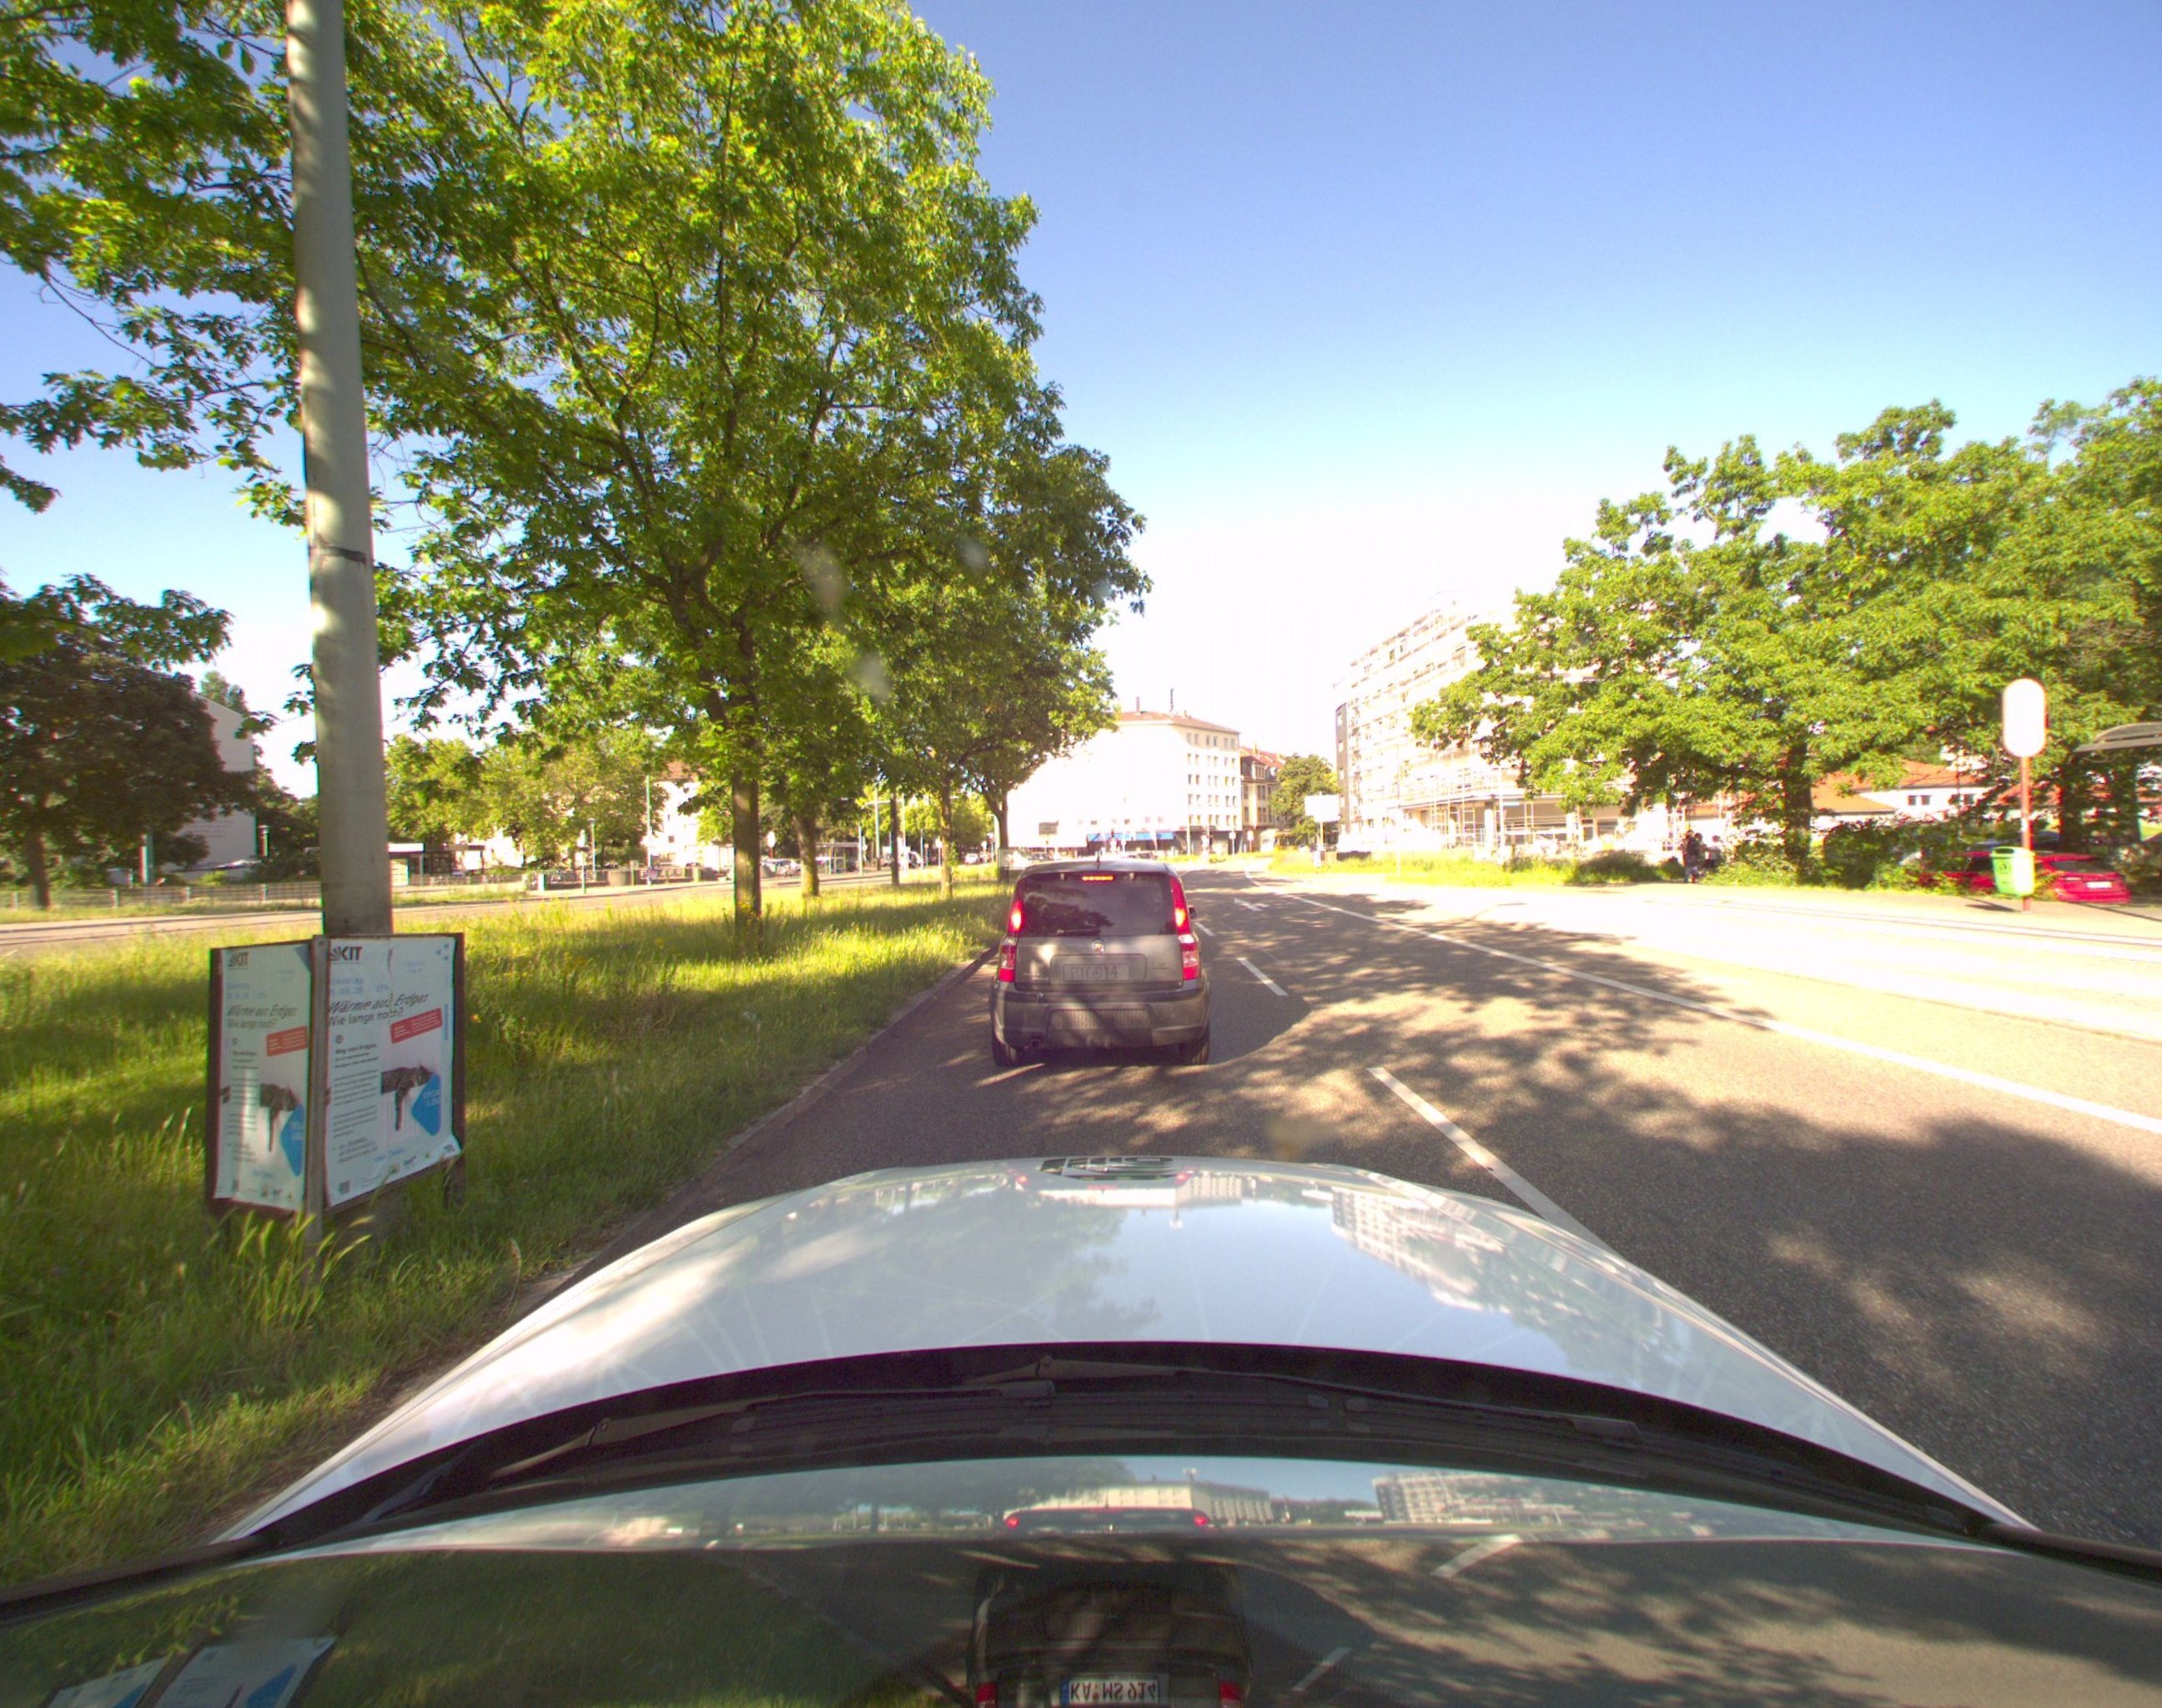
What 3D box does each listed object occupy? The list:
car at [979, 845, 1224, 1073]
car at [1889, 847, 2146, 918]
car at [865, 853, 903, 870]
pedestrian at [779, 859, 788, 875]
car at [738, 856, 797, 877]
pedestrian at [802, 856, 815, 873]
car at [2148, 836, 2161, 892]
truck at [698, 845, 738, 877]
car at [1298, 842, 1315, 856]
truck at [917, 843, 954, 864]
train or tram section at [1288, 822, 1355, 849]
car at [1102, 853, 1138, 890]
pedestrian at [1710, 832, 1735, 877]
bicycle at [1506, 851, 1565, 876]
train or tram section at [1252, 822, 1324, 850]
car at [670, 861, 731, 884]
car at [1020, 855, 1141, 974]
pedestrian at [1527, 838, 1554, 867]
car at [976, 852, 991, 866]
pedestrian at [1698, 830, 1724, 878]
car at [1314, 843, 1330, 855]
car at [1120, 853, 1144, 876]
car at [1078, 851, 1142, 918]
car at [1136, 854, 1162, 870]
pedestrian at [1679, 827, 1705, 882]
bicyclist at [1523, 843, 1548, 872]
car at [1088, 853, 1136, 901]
[{"bbox_3d":[0.204,0.703,7.539,1.622,1.508,4.002,-2,0,2],"label":"car"},{"bbox_3d":[21.986,0.599,19.379,1.747,1.486,3.743,-2,0,-2],"label":"car"},{"bbox_3d":[-23.943,0.897,99.035,4.164,2.013,1.931,-2,0,-1],"label":"car"},{"bbox_3d":[-25.760,1.101,70.508,0.411,1.391,0.630,-2,0,28],"label":"pedestrian"},{"bbox_3d":[-27.317,1.073,71.072,1.974,1.684,4.348,-2,0,40],"label":"car"},{"bbox_3d":[-26.294,1.032,78.554,0.910,1.607,0.802,-2,0,41],"label":"pedestrian"},{"bbox_3d":[29.862,0.235,20.182,1.911,1.486,3.725,-2,0,-17],"label":"car"},{"bbox_3d":[-33.074,0.636,74.209,2.012,2.805,3.951,-2,0,-44],"label":"truck"},{"bbox_3d":[24.917,-0.532,90.001,1.669,1.449,3.588,-2,0,18],"label":"car"},{"bbox_3d":[-23.005,-0.134,128.576,5.425,3.168,2.358,-2,0,30],"label":"truck"},{"bbox_3d":[38.009,-2.941,127.405,3.263,3.770,20.944,-2,0,36],"label":"train or tram section"},{"bbox_3d":[1.602,0.694,33.972,1.351,1.449,3.267,-2,0,2],"label":"car"},{"bbox_3d":[20.898,0.015,26.552,0.516,1.447,0.595,-2,0,28],"label":"pedestrian"},{"bbox_3d":[22.409,0.452,40.165,2.502,1.198,0.711,0,-1,2],"label":"bicycle"},{"bbox_3d":[29.702,-2.576,115.685,3.263,3.513,19.509,-2,0,35],"label":"train or tram section"},{"bbox_3d":[-31.193,1.507,66.836,1.974,1.684,4.025,-2,0,40],"label":"car"},{"bbox_3d":[0.049,0.748,11.767,1.458,1.401,3.395,-2,0,2],"label":"car"},{"bbox_3d":[26.255,-0.095,46.551,0.893,1.653,0.978,-2,0,-28],"label":"pedestrian"},{"bbox_3d":[-14.838,0.739,124.165,1.988,2.013,3.997,-2,0,-2],"label":"car"},{"bbox_3d":[19.246,0.009,24.887,0.516,1.447,0.595,-2,0,28],"label":"pedestrian"},{"bbox_3d":[27.628,-0.583,93.430,1.514,1.314,3.304,-2,0,20],"label":"car"},{"bbox_3d":[3.096,0.623,49.682,1.351,1.281,2.877,-2,0,2],"label":"car"},{"bbox_3d":[0.725,0.699,20.799,1.458,1.508,3.506,-2,0,2],"label":"car"},{"bbox_3d":[4.866,0.578,57.720,1.133,1.064,2.735,-2,0,19],"label":"car"},{"bbox_3d":[18.532,0.014,24.712,0.516,1.612,0.595,-2,0,28],"label":"pedestrian"},{"bbox_3d":[22.392,0.170,40.155,0.839,1.438,0.744,0,-1,2],"label":"bicyclist"},{"bbox_3d":[1.029,0.728,27.402,1.458,1.424,3.383,-2,0,2],"label":"car"}]
